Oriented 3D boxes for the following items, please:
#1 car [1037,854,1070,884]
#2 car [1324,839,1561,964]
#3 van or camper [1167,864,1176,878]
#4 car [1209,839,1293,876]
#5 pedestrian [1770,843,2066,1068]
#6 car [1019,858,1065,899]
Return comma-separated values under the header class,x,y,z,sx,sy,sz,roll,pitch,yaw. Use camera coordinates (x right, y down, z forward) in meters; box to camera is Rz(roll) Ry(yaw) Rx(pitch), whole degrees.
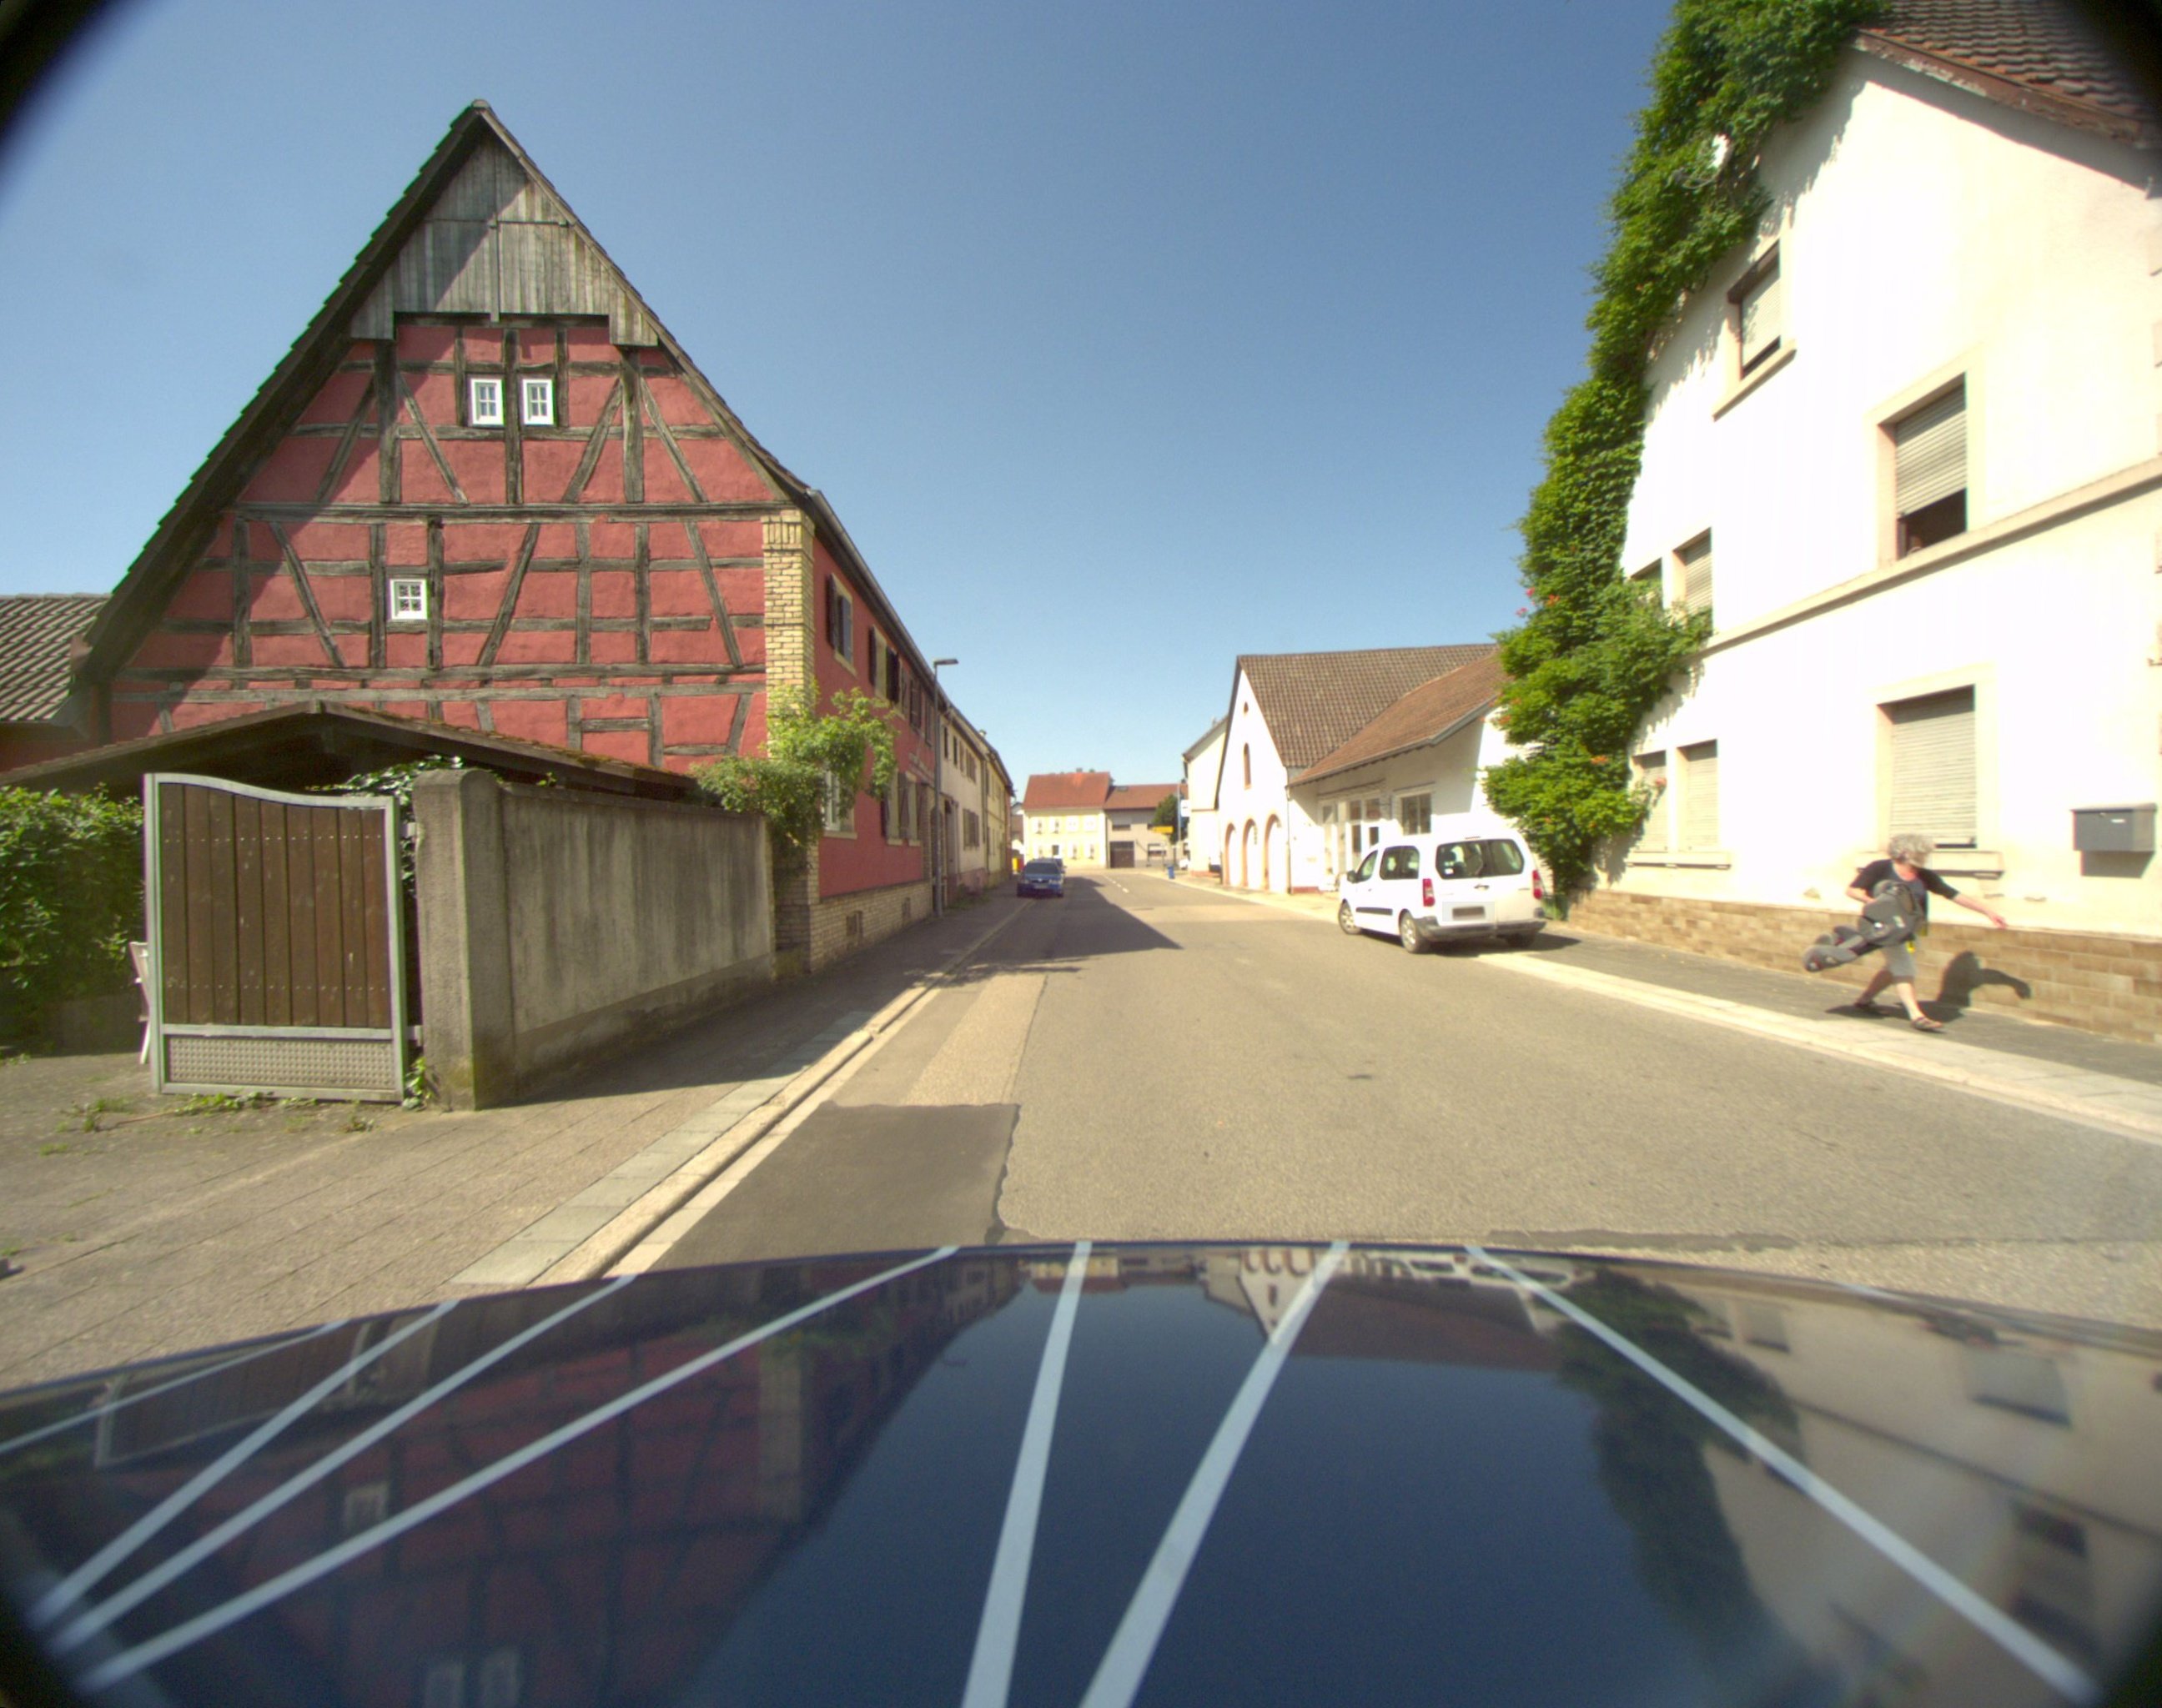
class,x,y,z,sx,sy,sz,roll,pitch,yaw
car,-1.691,0.914,48.326,1.903,1.718,4.248,-2,0,0
car,5.711,0.646,12.718,1.860,1.637,4.430,-3,0,1
van or camper,6.047,1.137,50.792,0.590,0.946,0.600,-2,0,5
car,11.002,0.248,49.600,5.185,2.184,2.124,-2,0,10
pedestrian,6.384,0.714,5.898,1.016,1.543,1.140,-2,0,2
car,-1.538,0.945,30.734,1.703,1.461,4.409,-1,0,-2
